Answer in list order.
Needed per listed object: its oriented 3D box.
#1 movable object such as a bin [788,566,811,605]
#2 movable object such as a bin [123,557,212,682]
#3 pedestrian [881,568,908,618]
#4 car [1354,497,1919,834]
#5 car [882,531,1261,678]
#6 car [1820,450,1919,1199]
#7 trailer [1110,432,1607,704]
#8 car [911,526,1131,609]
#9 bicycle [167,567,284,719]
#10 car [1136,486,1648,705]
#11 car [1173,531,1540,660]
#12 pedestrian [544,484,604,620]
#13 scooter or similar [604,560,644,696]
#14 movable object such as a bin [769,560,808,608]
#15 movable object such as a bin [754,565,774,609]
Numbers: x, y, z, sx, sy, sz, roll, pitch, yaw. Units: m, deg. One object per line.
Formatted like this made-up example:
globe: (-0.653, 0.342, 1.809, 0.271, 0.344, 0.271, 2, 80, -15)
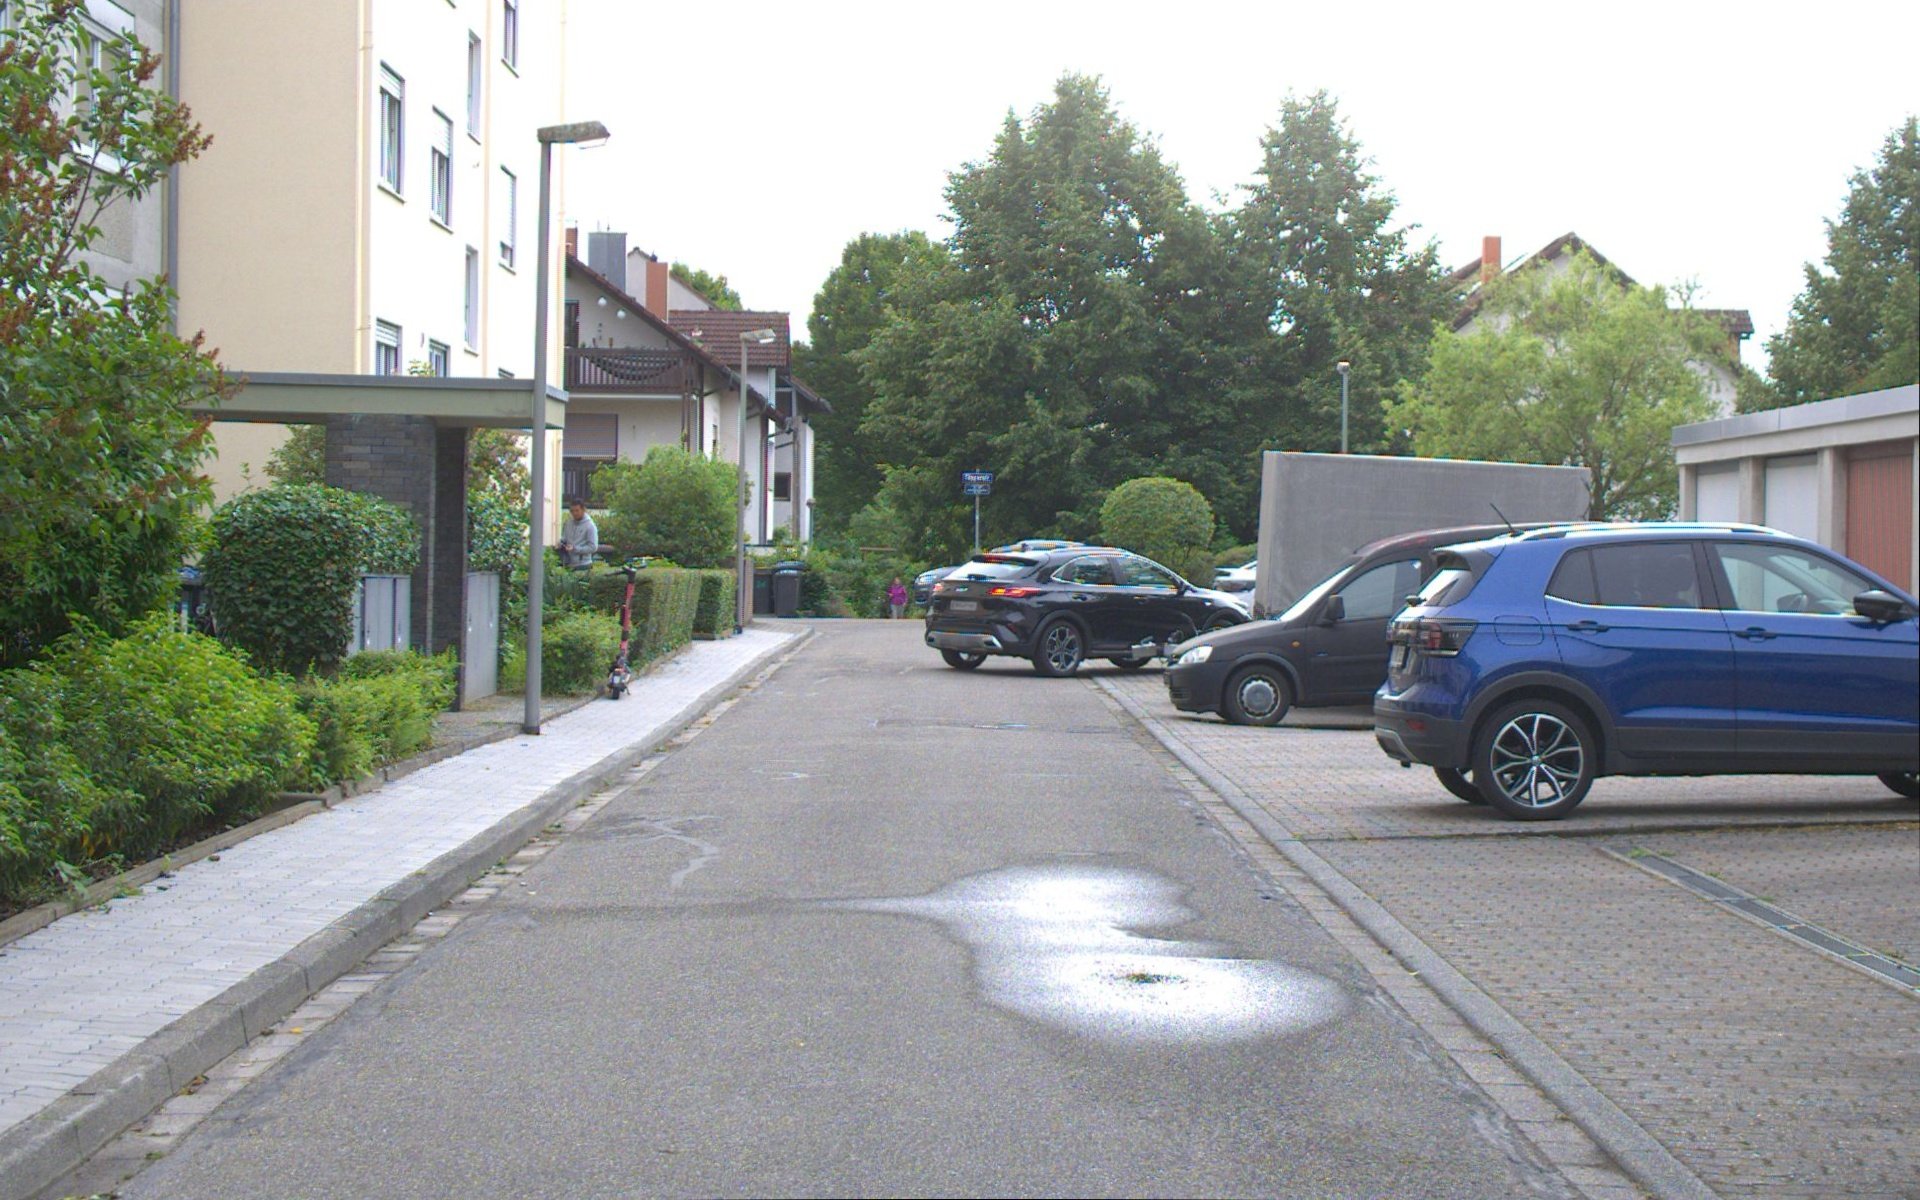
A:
movable object such as a bin: (-3.329, -0.296, 71.367, 0.459, 0.795, 0.379, 2, 1, -3)
movable object such as a bin: (-6.655, 0.160, 28.887, 0.623, 1.030, 0.589, 0, 1, -1)
pedestrian: (-1.991, -0.208, 104.797, 0.815, 1.512, 0.438, 0, 0, -2)
car: (4.343, 0.307, 19.192, 3.987, 1.697, 2.000, -2, 1, -1)
car: (1.324, 0.020, 40.444, 3.987, 1.546, 2.000, -2, 2, -33)
car: (4.263, 0.468, 7.552, 4.195, 1.721, 2.000, -2, 1, -1)
trailer: (3.839, -0.326, 33.761, 4.609, 2.516, 1.943, 1, 1, 0)
car: (1.178, -0.622, 67.401, 4.237, 1.526, 1.747, 1, -1, -1)
bicycle: (-5.308, 0.293, 24.899, 0.453, 1.031, 1.546, 3, 1, 1)
car: (3.833, -0.064, 31.086, 4.310, 1.795, 2.000, -2, 1, -1)
car: (5.059, -0.076, 44.348, 4.537, 1.583, 1.988, 0, 1, 2)
pedestrian: (-5.019, -0.628, 44.782, 0.679, 1.743, 0.756, 2, 1, -2)
scooter or similar: (-3.068, 0.245, 31.428, 0.272, 1.206, 1.164, 0, 1, -1)
movable object such as a bin: (-3.501, -0.324, 70.188, 0.733, 0.950, 0.584, 2, 1, -1)
movable object such as a bin: (-4.053, -0.265, 70.981, 0.386, 0.886, 0.379, 2, 1, -3)
